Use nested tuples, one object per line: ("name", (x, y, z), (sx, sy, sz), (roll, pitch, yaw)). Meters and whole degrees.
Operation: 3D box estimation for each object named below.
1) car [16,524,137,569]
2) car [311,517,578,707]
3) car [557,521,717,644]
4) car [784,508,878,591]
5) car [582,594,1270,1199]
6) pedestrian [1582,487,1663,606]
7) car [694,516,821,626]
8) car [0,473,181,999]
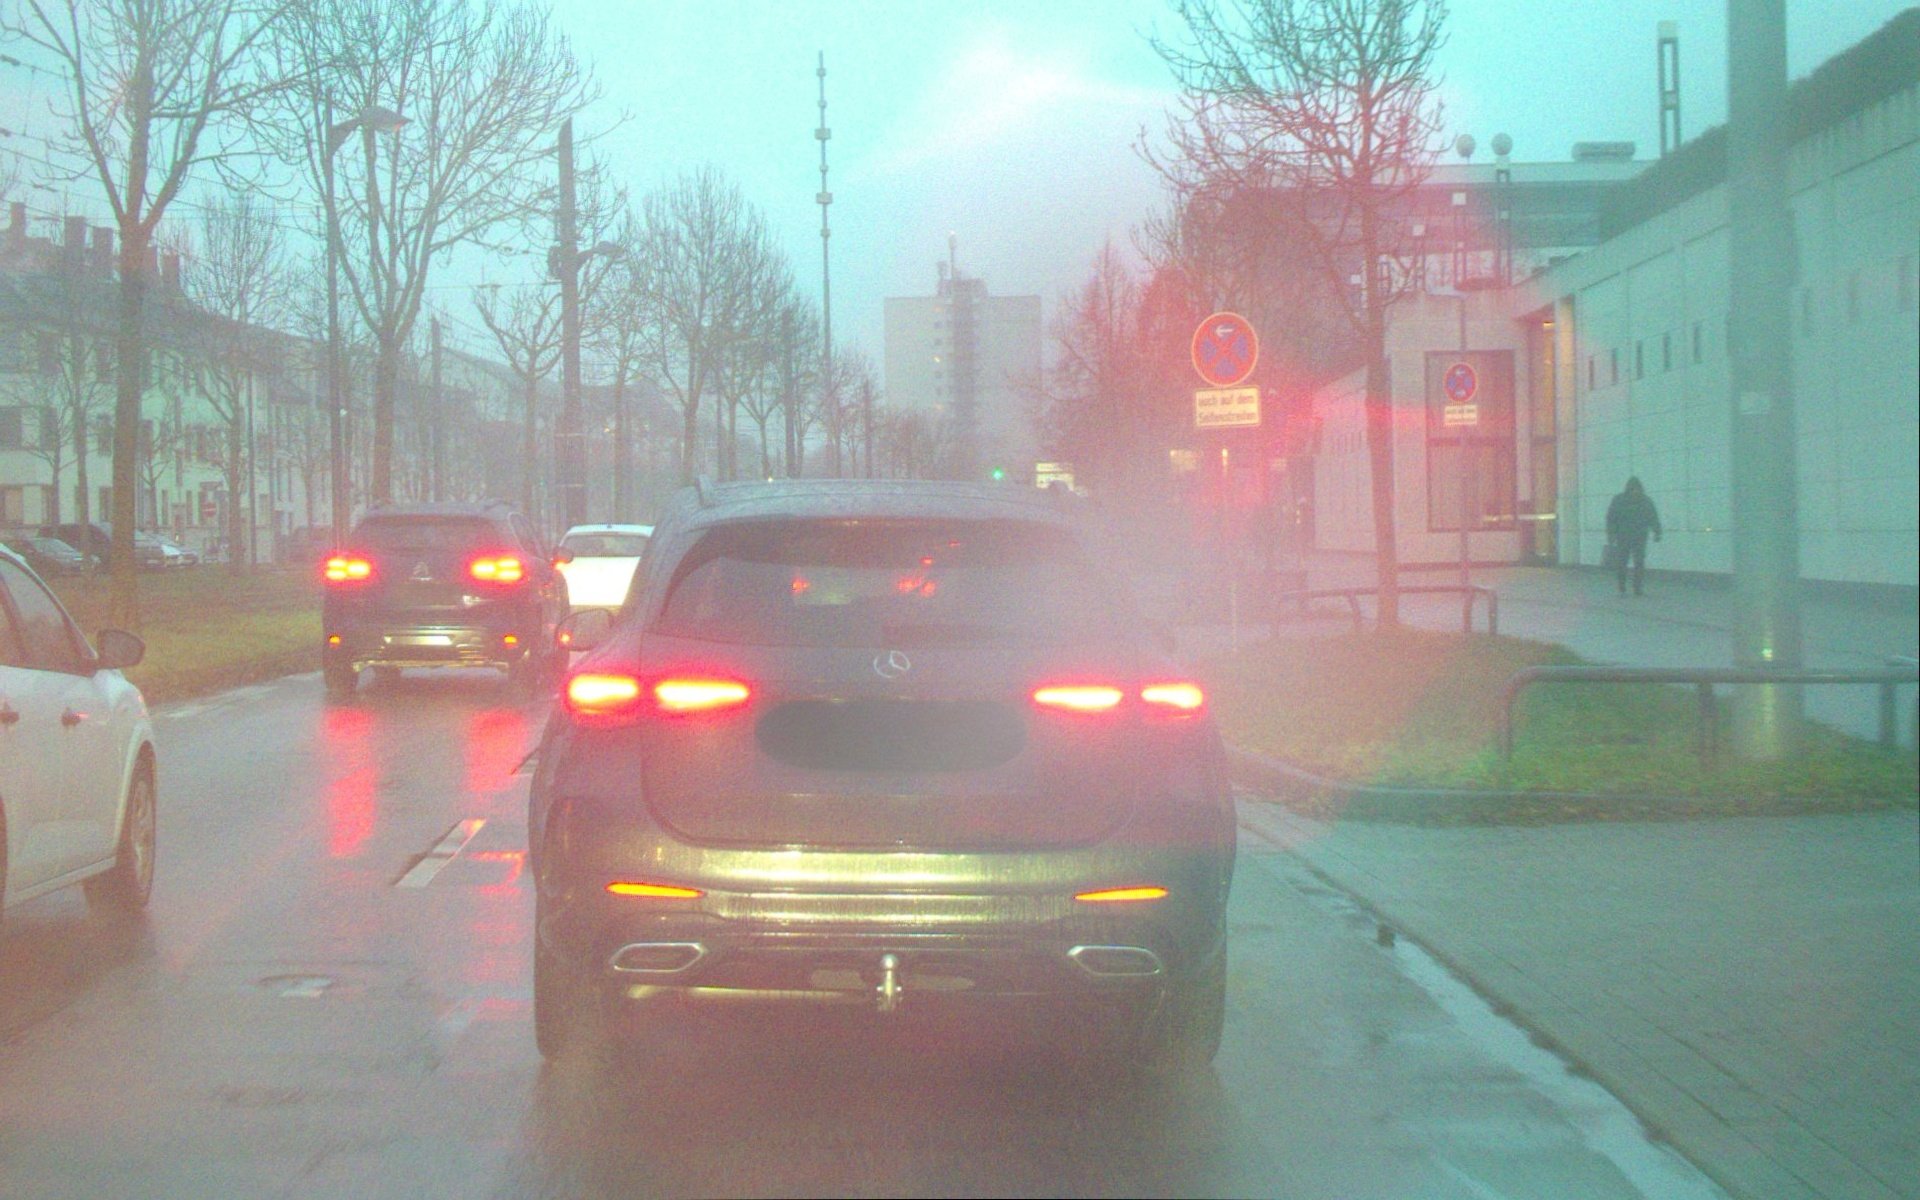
("car", (-27.730, -1.666, 107.853), (3.552, 1.349, 1.778), (0, 2, 35))
("car", (-4.565, 0.062, 30.957), (1.672, 1.594, 4.053), (0, 1, 2))
("car", (-4.363, -0.263, 46.877), (1.672, 1.594, 4.053), (0, 1, 2))
("car", (-3.244, -1.275, 87.029), (1.994, 2.007, 4.000), (1, 0, 3))
("car", (-0.022, 0.819, 10.399), (1.672, 1.594, 4.053), (0, 1, 2))
("pedestrian", (9.144, -0.746, 47.469), (0.937, 1.612, 0.695), (-1, 1, -1))
("car", (-3.860, -0.557, 66.114), (1.994, 2.007, 4.000), (1, 0, 3))
("car", (-3.823, 0.384, 11.661), (1.672, 1.594, 4.054), (0, 1, -3))
